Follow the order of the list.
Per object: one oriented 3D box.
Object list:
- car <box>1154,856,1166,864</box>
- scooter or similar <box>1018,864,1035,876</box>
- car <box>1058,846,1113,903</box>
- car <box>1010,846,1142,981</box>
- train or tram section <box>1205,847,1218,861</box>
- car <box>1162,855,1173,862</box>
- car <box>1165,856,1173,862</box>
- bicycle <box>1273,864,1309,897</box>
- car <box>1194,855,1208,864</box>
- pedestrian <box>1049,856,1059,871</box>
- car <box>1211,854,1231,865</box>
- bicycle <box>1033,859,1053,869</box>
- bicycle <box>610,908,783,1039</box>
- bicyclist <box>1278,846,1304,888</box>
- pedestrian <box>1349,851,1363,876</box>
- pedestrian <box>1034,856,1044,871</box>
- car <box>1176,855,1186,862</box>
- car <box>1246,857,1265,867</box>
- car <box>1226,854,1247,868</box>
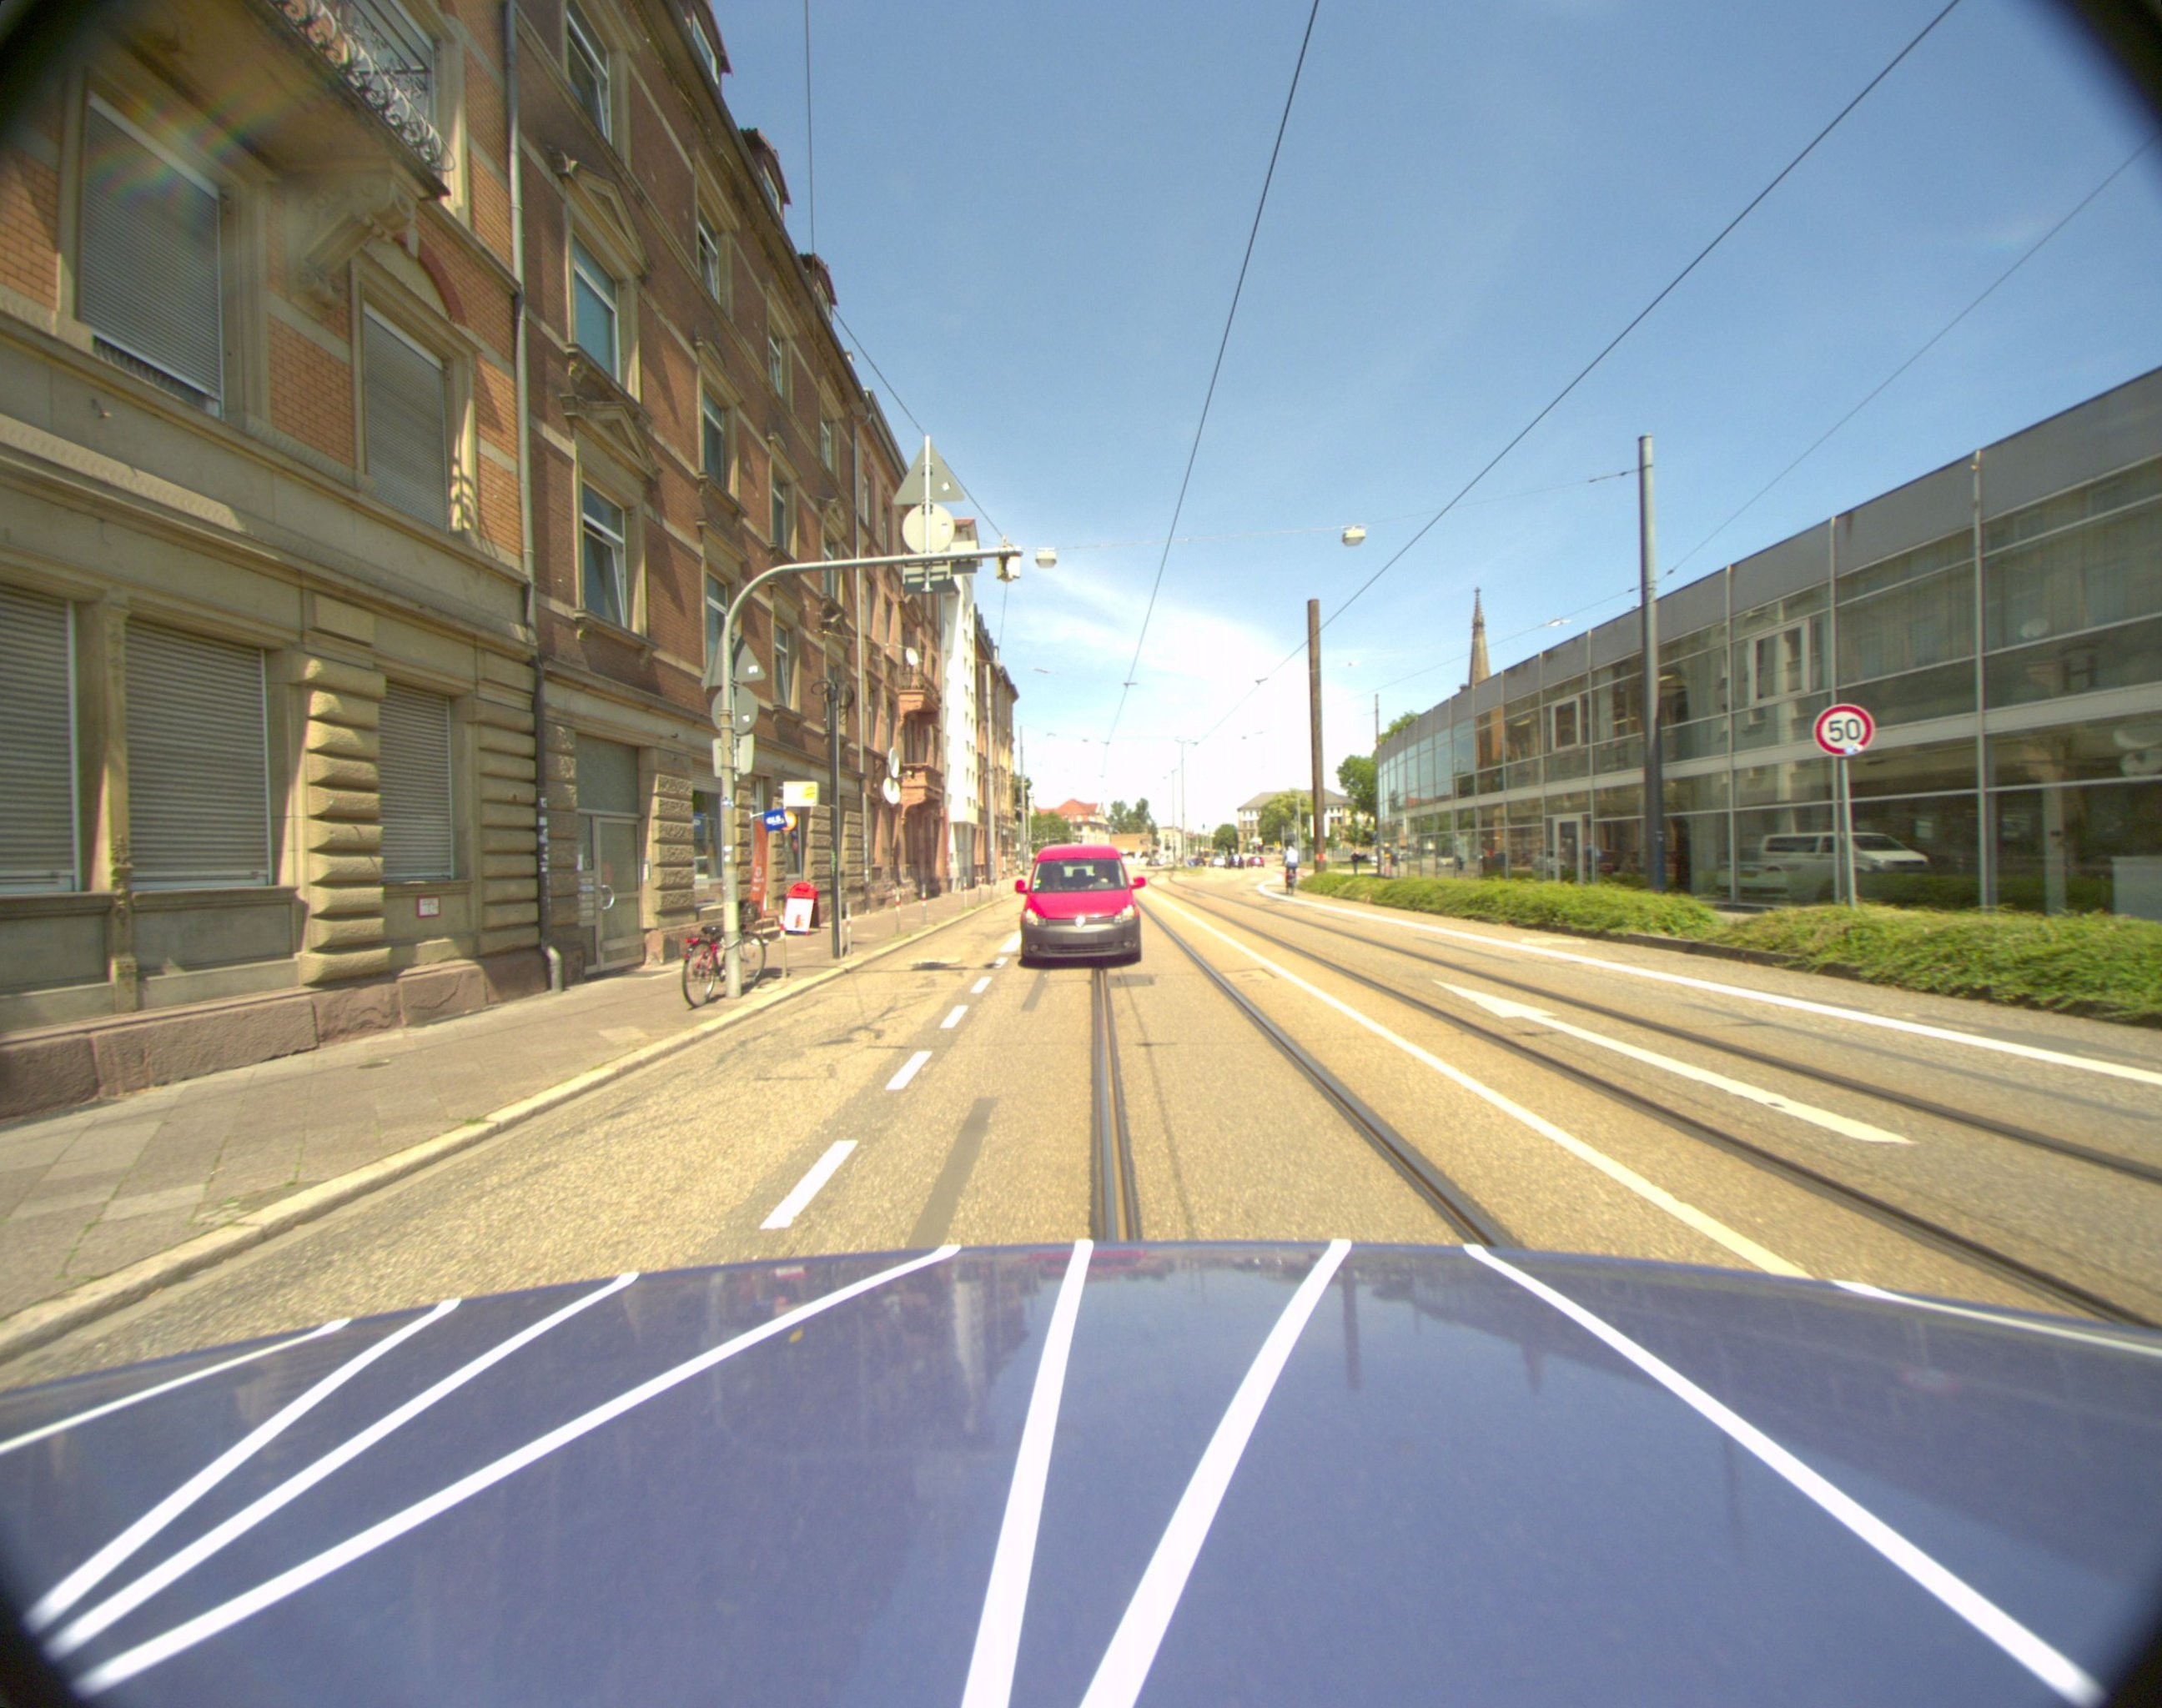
[{"bbox_3d":[14.018,1.039,135.579,1.847,1.471,4.331,0,-1,3],"label":"car"},{"bbox_3d":[-5.408,1.548,75.050,1.527,1.148,0.714,-1,0,-27],"label":"scooter or similar"},{"bbox_3d":[0.148,0.722,28.366,1.874,1.954,3.823,-1,0,0],"label":"car"},{"bbox_3d":[-0.021,0.824,12.410,1.755,1.801,4.098,-1,0,1],"label":"car"},{"bbox_3d":[32.165,-0.009,186.714,2.839,3.195,9.117,-1,0,11],"label":"train or tram section"},{"bbox_3d":[16.521,0.845,145.692,1.711,1.291,4.203,0,0,1],"label":"car"},{"bbox_3d":[21.698,1.181,187.413,1.552,1.527,3.679,-1,0,1],"label":"car"},{"bbox_3d":[7.847,0.967,28.530,0.699,1.138,2.495,-1,0,1],"label":"bicycle"},{"bbox_3d":[18.459,0.838,117.176,1.675,1.453,3.904,0,0,1],"label":"car"},{"bbox_3d":[-3.348,1.187,95.330,0.808,1.769,0.876,-1,0,34],"label":"pedestrian"},{"bbox_3d":[19.381,0.759,105.267,1.998,1.521,5.131,0,0,2],"label":"car"},{"bbox_3d":[-4.528,1.202,90.911,2.225,1.243,1.096,-1,0,-43],"label":"bicycle"},{"bbox_3d":[-4.153,1.227,8.472,0.448,1.090,2.424,-1,0,7],"label":"bicycle"},{"bbox_3d":[7.871,0.495,28.548,0.699,1.539,0.980,-1,0,0],"label":"bicyclist"},{"bbox_3d":[18.603,0.642,51.407,0.729,1.632,0.820,-1,0,5],"label":"pedestrian"},{"bbox_3d":[-4.978,1.143,90.474,0.826,1.765,0.812,-2,1,-42],"label":"pedestrian"},{"bbox_3d":[20.987,0.906,159.209,1.552,1.527,3.679,-1,0,1],"label":"car"},{"bbox_3d":[23.731,1.055,103.418,1.762,1.359,4.289,-1,0,3],"label":"car"},{"bbox_3d":[18.254,0.814,89.407,1.826,1.617,4.527,0,0,4],"label":"car"}]
